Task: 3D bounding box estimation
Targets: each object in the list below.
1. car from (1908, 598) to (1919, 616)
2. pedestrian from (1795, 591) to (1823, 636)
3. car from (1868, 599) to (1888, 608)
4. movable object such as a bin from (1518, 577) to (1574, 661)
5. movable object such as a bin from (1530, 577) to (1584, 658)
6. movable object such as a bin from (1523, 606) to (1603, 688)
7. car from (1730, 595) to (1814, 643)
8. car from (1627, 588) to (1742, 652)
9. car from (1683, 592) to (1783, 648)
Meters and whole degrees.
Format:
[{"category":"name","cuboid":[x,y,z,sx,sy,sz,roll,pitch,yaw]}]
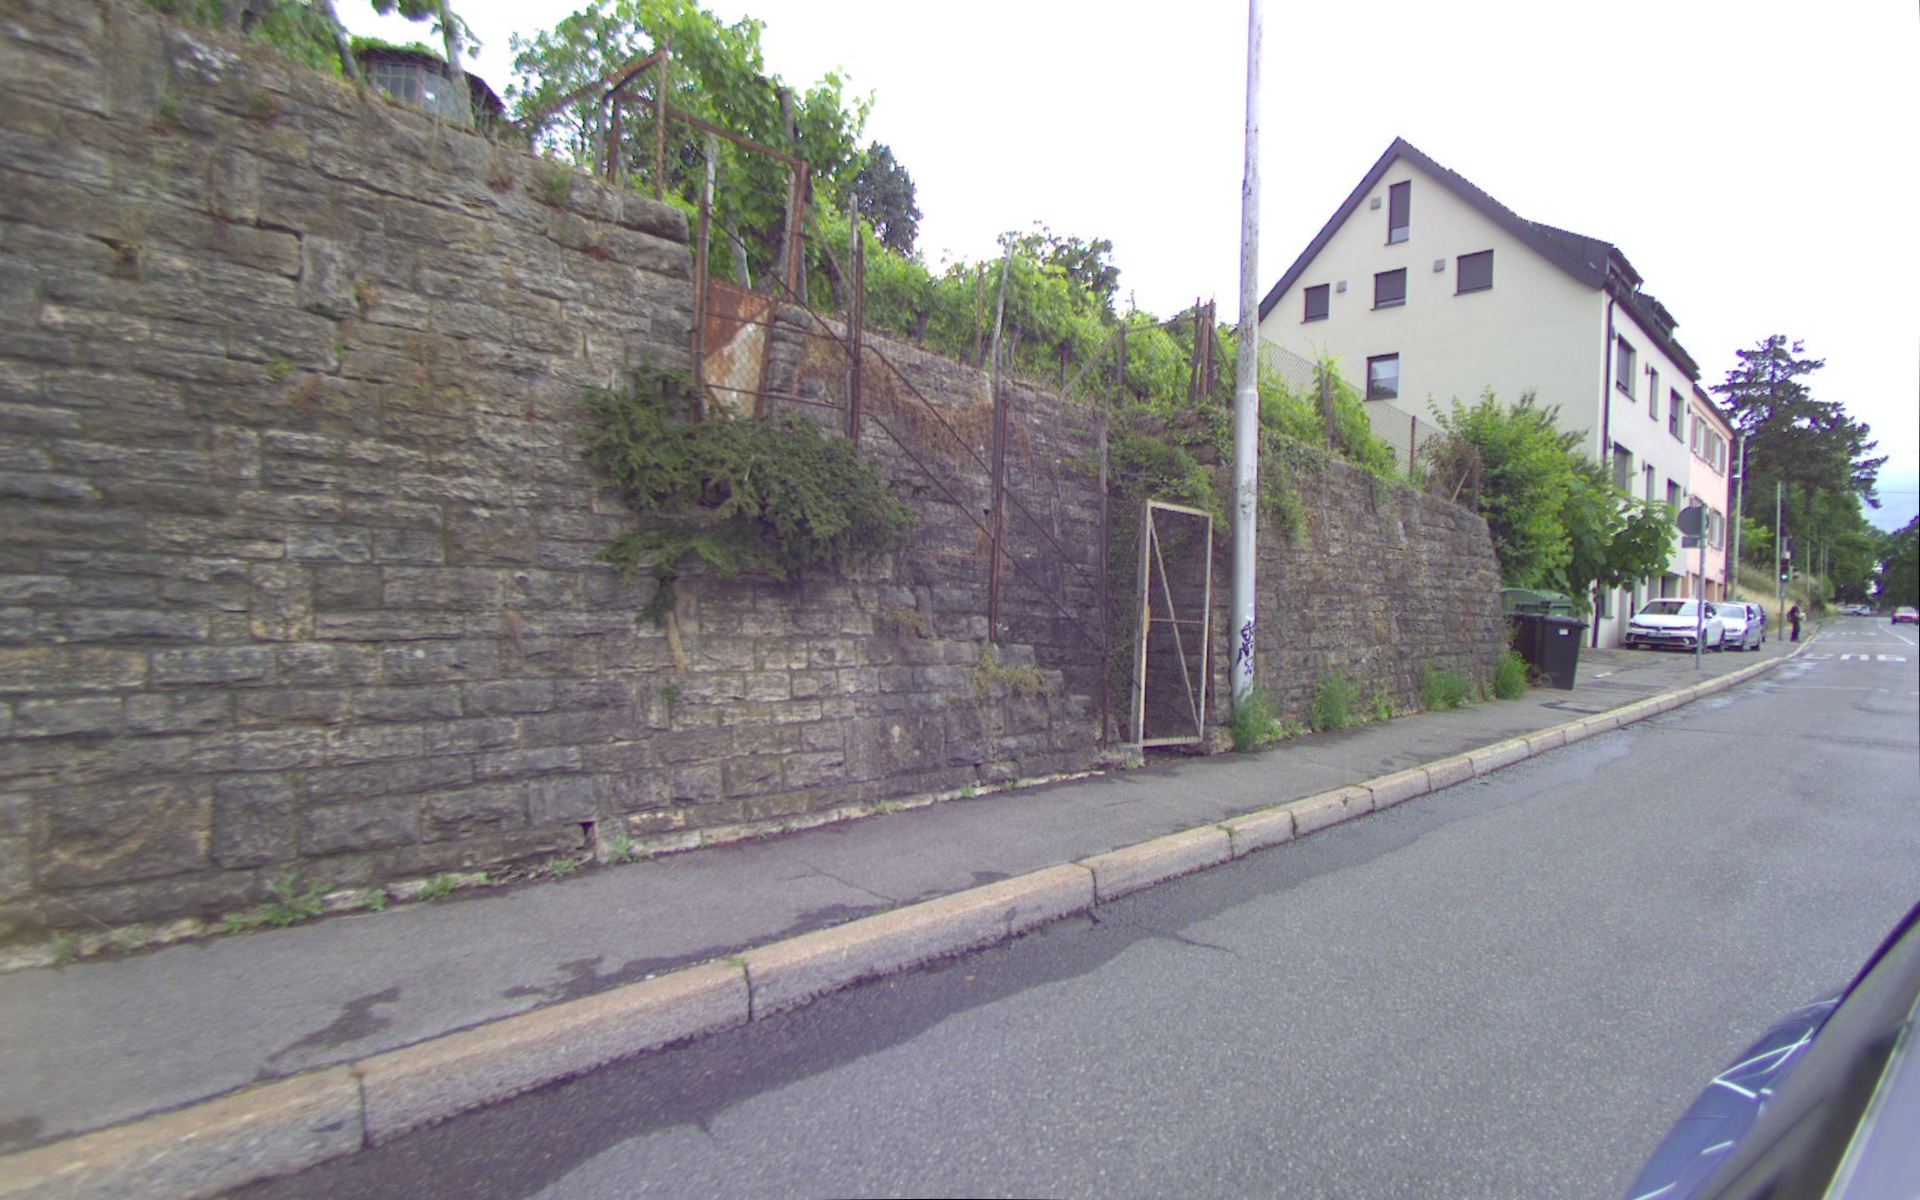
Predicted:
[{"category":"car","cuboid":[78.940,0.602,82.935,1.643,1.456,3.934,2,0,45]},{"category":"pedestrian","cuboid":[33.538,0.533,39.970,0.684,1.733,0.735,1,0,-40]},{"category":"car","cuboid":[143.634,0.531,158.361,3.932,1.482,1.996,0,1,-42]},{"category":"movable object such as a bin","cuboid":[11.282,0.341,19.462,0.750,1.565,1.049,1,0,41]},{"category":"movable object such as a bin","cuboid":[11.987,0.338,20.308,0.750,1.561,1.049,1,0,41]},{"category":"movable object such as a bin","cuboid":[8.965,0.672,15.039,0.860,1.141,0.810,1,1,-43]},{"category":"car","cuboid":[29.278,0.641,36.445,4.180,1.595,1.904,-1,0,-45]},{"category":"car","cuboid":[19.751,0.482,27.526,3.987,1.595,1.796,0,0,-43]},{"category":"car","cuboid":[23.385,0.547,30.555,4.177,1.595,1.729,0,0,-43]}]
